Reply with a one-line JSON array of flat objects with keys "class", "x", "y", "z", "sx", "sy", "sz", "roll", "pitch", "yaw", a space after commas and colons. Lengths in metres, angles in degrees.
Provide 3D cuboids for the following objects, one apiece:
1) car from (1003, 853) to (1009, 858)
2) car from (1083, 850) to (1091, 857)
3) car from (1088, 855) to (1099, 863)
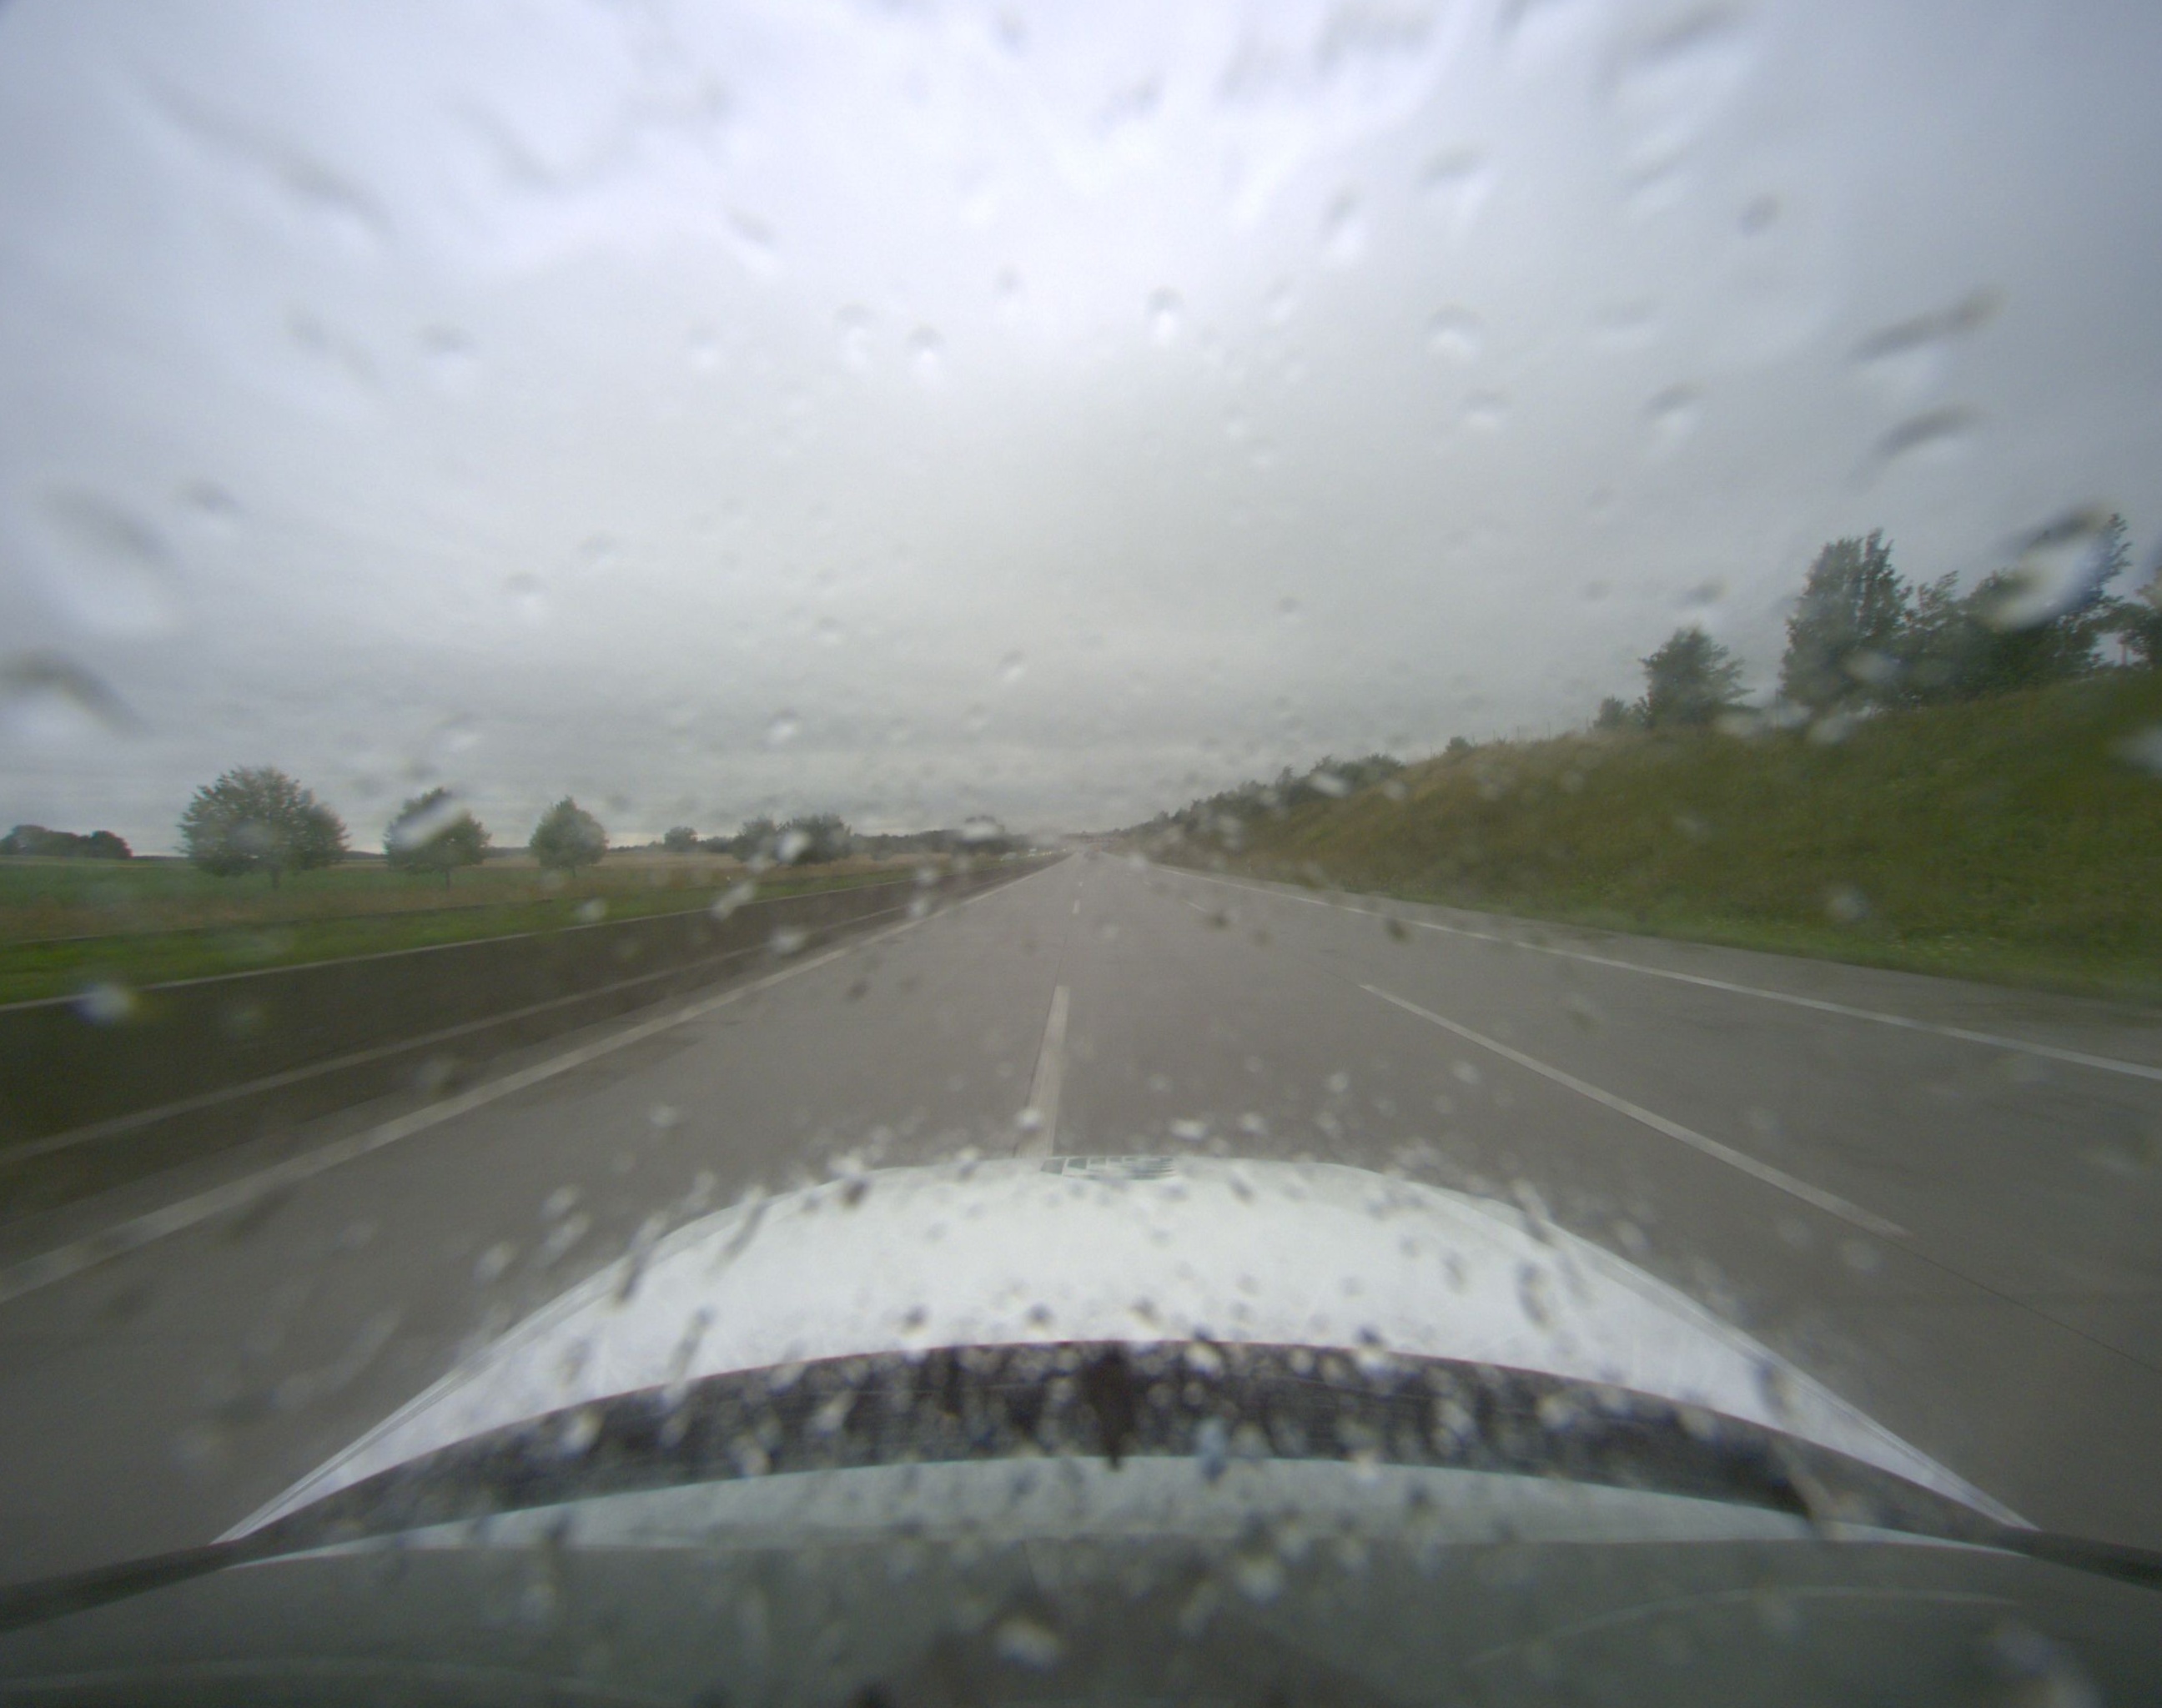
[{"class": "car", "x": -23.045, "y": 0.415, "z": 250.079, "sx": 1.667, "sy": 1.398, "sz": 4.064, "roll": -1, "pitch": 0, "yaw": -1}, {"class": "car", "x": 1.353, "y": -0.154, "z": 189.590, "sx": 1.724, "sy": 1.331, "sz": 4.429, "roll": -1, "pitch": 1, "yaw": 0}, {"class": "car", "x": 2.423, "y": 0.933, "z": 158.004, "sx": 1.842, "sy": 1.331, "sz": 4.428, "roll": -1, "pitch": 1, "yaw": -1}]
